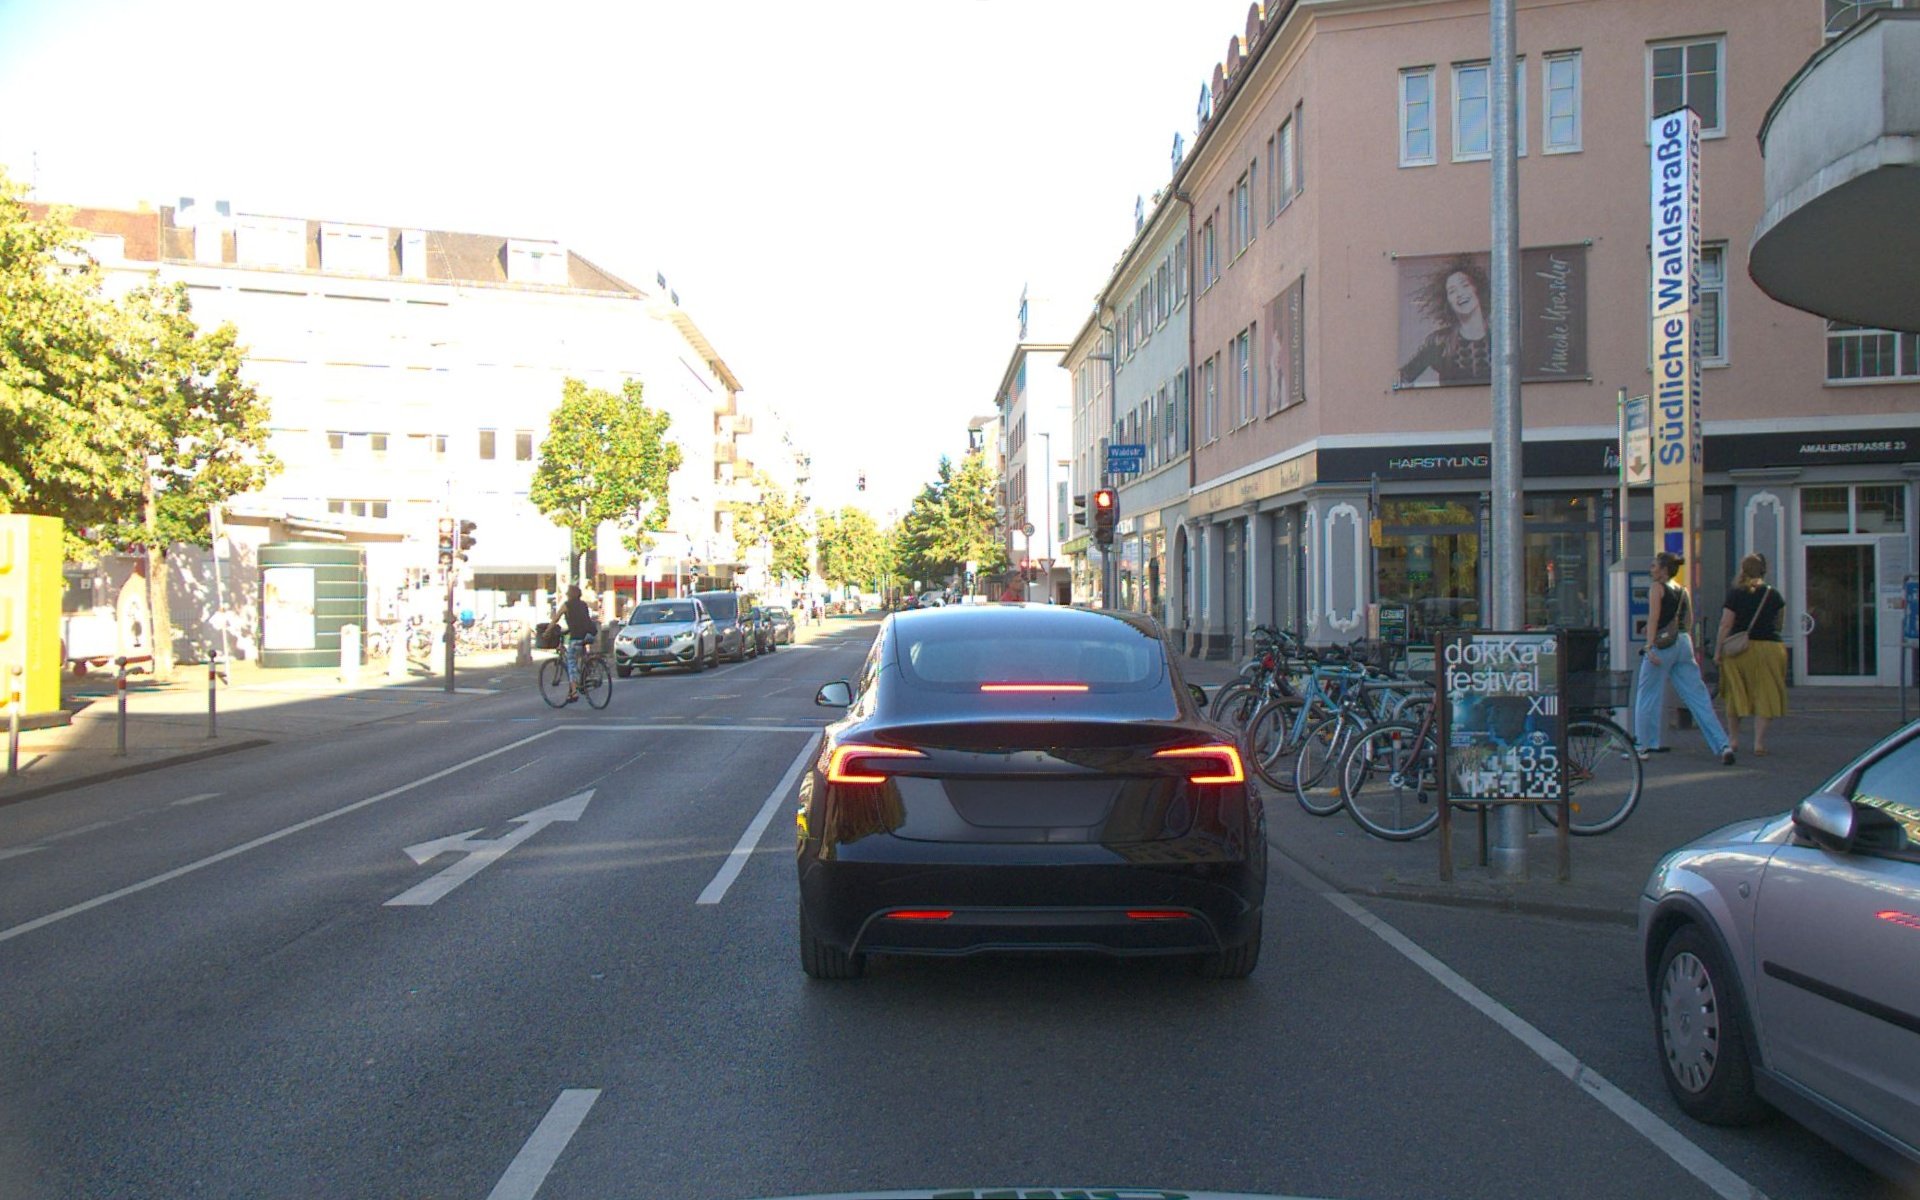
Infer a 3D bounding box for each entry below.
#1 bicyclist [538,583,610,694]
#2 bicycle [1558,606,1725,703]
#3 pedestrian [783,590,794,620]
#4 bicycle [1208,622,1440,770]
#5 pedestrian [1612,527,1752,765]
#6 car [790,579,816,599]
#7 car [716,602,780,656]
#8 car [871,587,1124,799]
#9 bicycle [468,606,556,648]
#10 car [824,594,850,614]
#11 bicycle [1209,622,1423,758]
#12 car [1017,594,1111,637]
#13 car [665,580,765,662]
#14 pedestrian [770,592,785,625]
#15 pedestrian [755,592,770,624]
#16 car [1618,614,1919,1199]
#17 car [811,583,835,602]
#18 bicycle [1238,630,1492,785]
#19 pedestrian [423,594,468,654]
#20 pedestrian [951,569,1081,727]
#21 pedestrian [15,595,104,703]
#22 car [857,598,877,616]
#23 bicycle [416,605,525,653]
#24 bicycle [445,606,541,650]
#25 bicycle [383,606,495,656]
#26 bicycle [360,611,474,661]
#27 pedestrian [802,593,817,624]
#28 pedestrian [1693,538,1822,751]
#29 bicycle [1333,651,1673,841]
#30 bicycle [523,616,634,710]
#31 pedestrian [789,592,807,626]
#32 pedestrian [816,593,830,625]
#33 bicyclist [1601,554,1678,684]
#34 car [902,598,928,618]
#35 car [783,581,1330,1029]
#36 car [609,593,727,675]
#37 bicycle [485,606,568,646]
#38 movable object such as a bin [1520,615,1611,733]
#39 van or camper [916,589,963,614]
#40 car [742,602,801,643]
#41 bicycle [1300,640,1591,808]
[{"bbox_3d":[-5.423,0.528,23.218,0.603,1.510,0.943,1,-1,-42],"label":"bicyclist"},{"bbox_3d":[8.834,0.709,21.500,1.912,1.178,0.576,-2,-1,16],"label":"bicycle"},{"bbox_3d":[-10.761,0.304,103.706,0.681,1.900,0.658,1,-1,-6],"label":"pedestrian"},{"bbox_3d":[2.977,0.780,13.630,1.776,1.172,0.653,0,0,0],"label":"bicycle"},{"bbox_3d":[5.990,0.373,13.763,0.667,1.882,0.893,-3,-1,1],"label":"pedestrian"},{"bbox_3d":[-17.006,-1.142,179.398,2.228,2.049,4.717,1,0,0],"label":"car"},{"bbox_3d":[-6.334,0.848,49.683,1.431,1.455,3.605,-3,0,-1],"label":"car"},{"bbox_3d":[0.241,0.682,14.186,1.812,1.507,4.450,1,0,-1],"label":"car"},{"bbox_3d":[-14.060,0.844,51.909,2.491,1.273,0.942,1,0,-4],"label":"bicycle"},{"bbox_3d":[-12.334,0.383,166.254,2.365,2.004,4.677,0,0,-1],"label":"car"},{"bbox_3d":[3.160,0.788,14.767,1.776,1.172,0.653,0,0,0],"label":"bicycle"},{"bbox_3d":[4.716,0.696,74.731,3.937,1.900,1.686,0,0,-22],"label":"car"},{"bbox_3d":[-6.230,0.501,42.556,1.906,1.981,4.819,0,0,-1],"label":"car"},{"bbox_3d":[-10.719,0.487,97.040,0.721,1.900,0.787,1,-1,-17],"label":"pedestrian"},{"bbox_3d":[-11.572,0.471,96.724,0.721,1.900,0.787,1,-1,-17],"label":"pedestrian"},{"bbox_3d":[2.919,0.778,3.528,1.551,1.451,3.579,1,0,-1],"label":"car"},{"bbox_3d":[-15.589,-0.830,188.054,2.228,2.049,4.717,1,0,0],"label":"car"},{"bbox_3d":[3.048,0.801,12.557,1.776,1.121,0.653,0,0,0],"label":"bicycle"},{"bbox_3d":[-14.406,0.667,46.323,1.074,1.639,1.262,1,0,-13],"label":"pedestrian"},{"bbox_3d":[0.649,0.536,19.070,1.090,1.750,1.058,1,-1,33],"label":"pedestrian"},{"bbox_3d":[-13.423,0.726,24.659,0.902,1.570,0.695,1,-1,4],"label":"pedestrian"},{"bbox_3d":[-10.489,0.816,186.958,2.089,2.004,4.133,0,0,-1],"label":"car"},{"bbox_3d":[-13.999,0.825,47.317,2.818,1.292,0.942,1,0,-4],"label":"bicycle"},{"bbox_3d":[-14.008,0.840,49.635,2.609,1.281,0.942,1,0,-4],"label":"bicycle"},{"bbox_3d":[-14.123,0.838,44.915,2.725,1.296,0.932,1,0,-4],"label":"bicycle"},{"bbox_3d":[-13.949,0.920,42.578,2.607,1.216,0.942,1,0,-4],"label":"bicycle"},{"bbox_3d":[-9.166,0.529,100.703,0.684,1.900,0.905,1,-1,-17],"label":"pedestrian"},{"bbox_3d":[6.969,0.385,14.493,0.706,1.785,0.788,-2,-1,4],"label":"pedestrian"},{"bbox_3d":[3.277,0.871,10.082,1.844,1.062,0.653,-1,0,0],"label":"bicycle"},{"bbox_3d":[-5.357,0.893,23.139,0.624,1.244,1.969,0,-3,-42],"label":"bicycle"},{"bbox_3d":[-9.241,0.502,94.427,0.719,1.900,0.790,1,-1,28],"label":"pedestrian"},{"bbox_3d":[-8.110,0.535,97.716,0.760,1.900,1.007,1,-1,-8],"label":"pedestrian"},{"bbox_3d":[8.823,0.248,21.491,0.808,1.642,0.580,-2,0,15],"label":"bicyclist"},{"bbox_3d":[-4.205,0.757,154.335,1.996,1.819,4.000,0,0,-7],"label":"car"},{"bbox_3d":[0.297,0.697,7.762,1.812,1.472,4.450,1,0,-1],"label":"car"},{"bbox_3d":[-6.323,0.706,36.229,1.788,1.592,4.299,-3,0,-1],"label":"car"},{"bbox_3d":[-14.226,0.851,54.331,2.491,1.273,0.942,1,0,-4],"label":"bicycle"},{"bbox_3d":[6.041,0.728,16.537,0.623,1.122,0.728,-2,0,3],"label":"movable object such as a bin"},{"bbox_3d":[-2.057,0.160,167.511,4.752,2.481,1.850,0,0,-1],"label":"van or camper"},{"bbox_3d":[-6.803,0.788,60.092,1.659,1.414,3.916,1,0,0],"label":"car"},{"bbox_3d":[3.248,0.819,11.153,1.776,1.078,0.653,0,0,0],"label":"bicycle"}]
